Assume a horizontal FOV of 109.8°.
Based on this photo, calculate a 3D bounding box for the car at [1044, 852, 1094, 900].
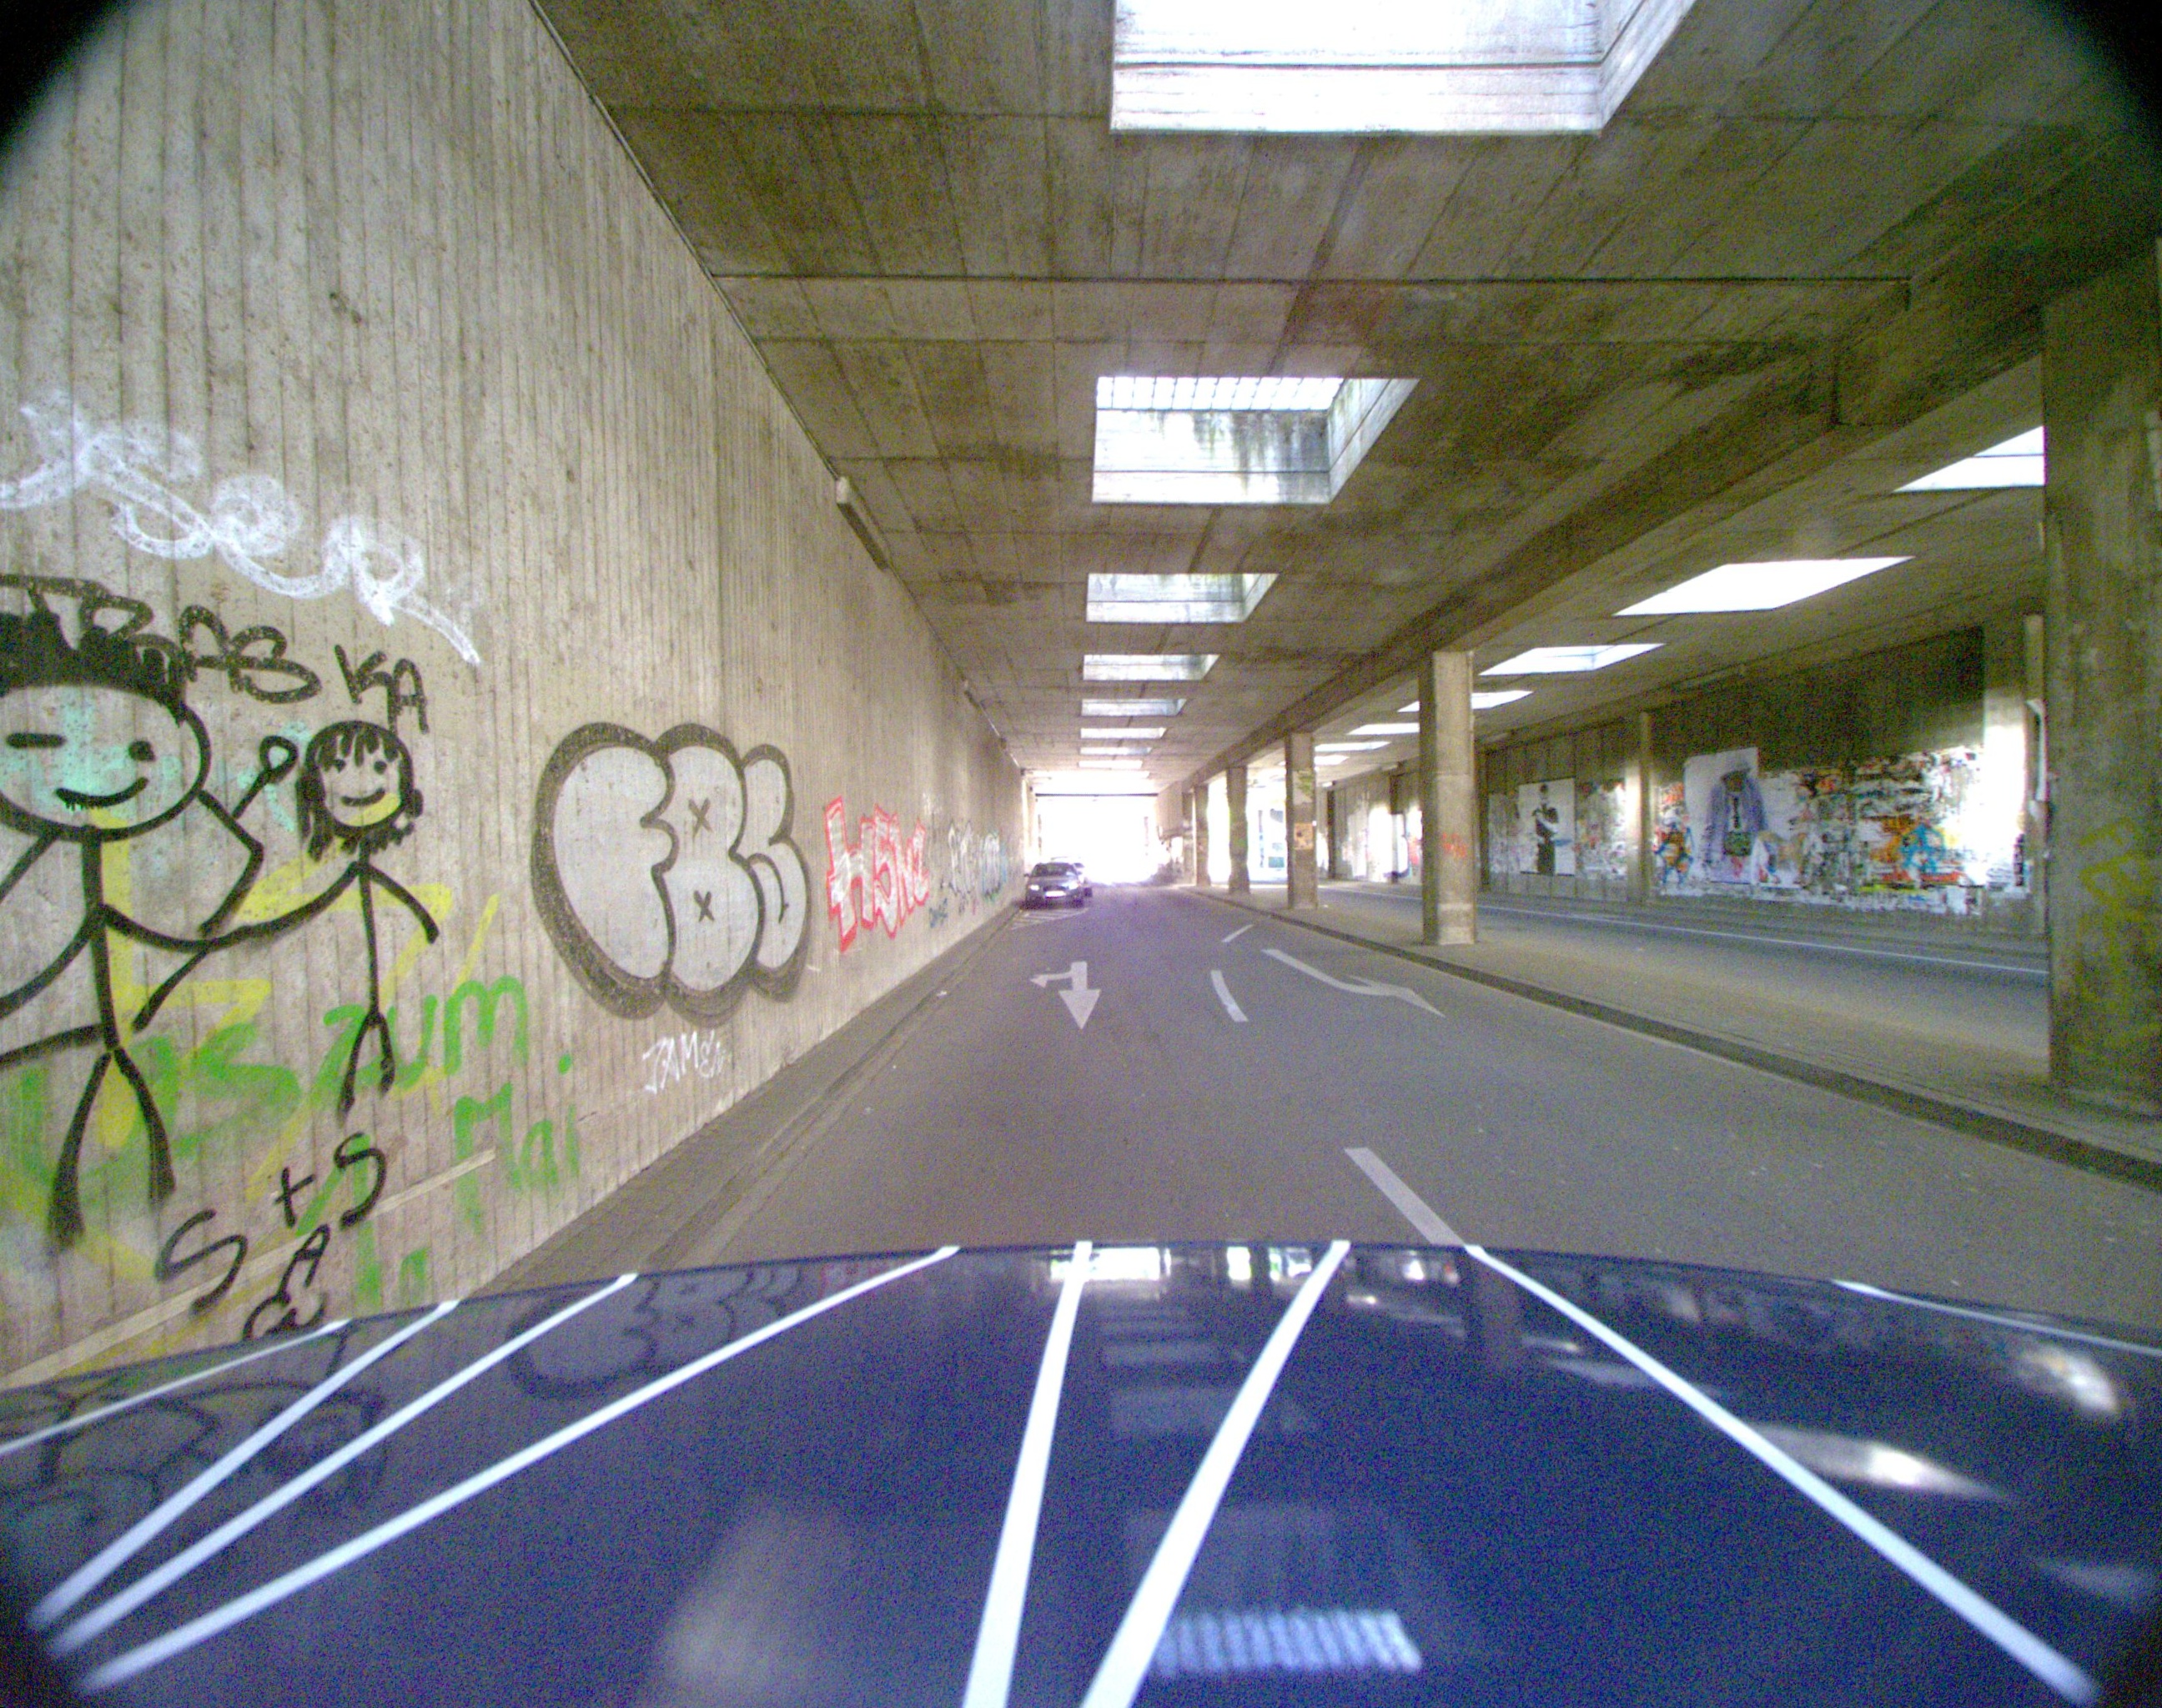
[{"bbox_3d":[-0.497,0.804,29.770,1.767,1.634,3.999,-2,1,-2],"label":"car"}]

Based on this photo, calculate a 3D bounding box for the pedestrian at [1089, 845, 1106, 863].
[{"bbox_3d":[1.910,0.003,87.359,1.486,2.002,1.218,-1,1,42],"label":"pedestrian"}]

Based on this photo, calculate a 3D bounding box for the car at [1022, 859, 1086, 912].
[{"bbox_3d":[-0.772,0.919,23.952,1.767,1.407,3.999,-2,1,1],"label":"car"}]
